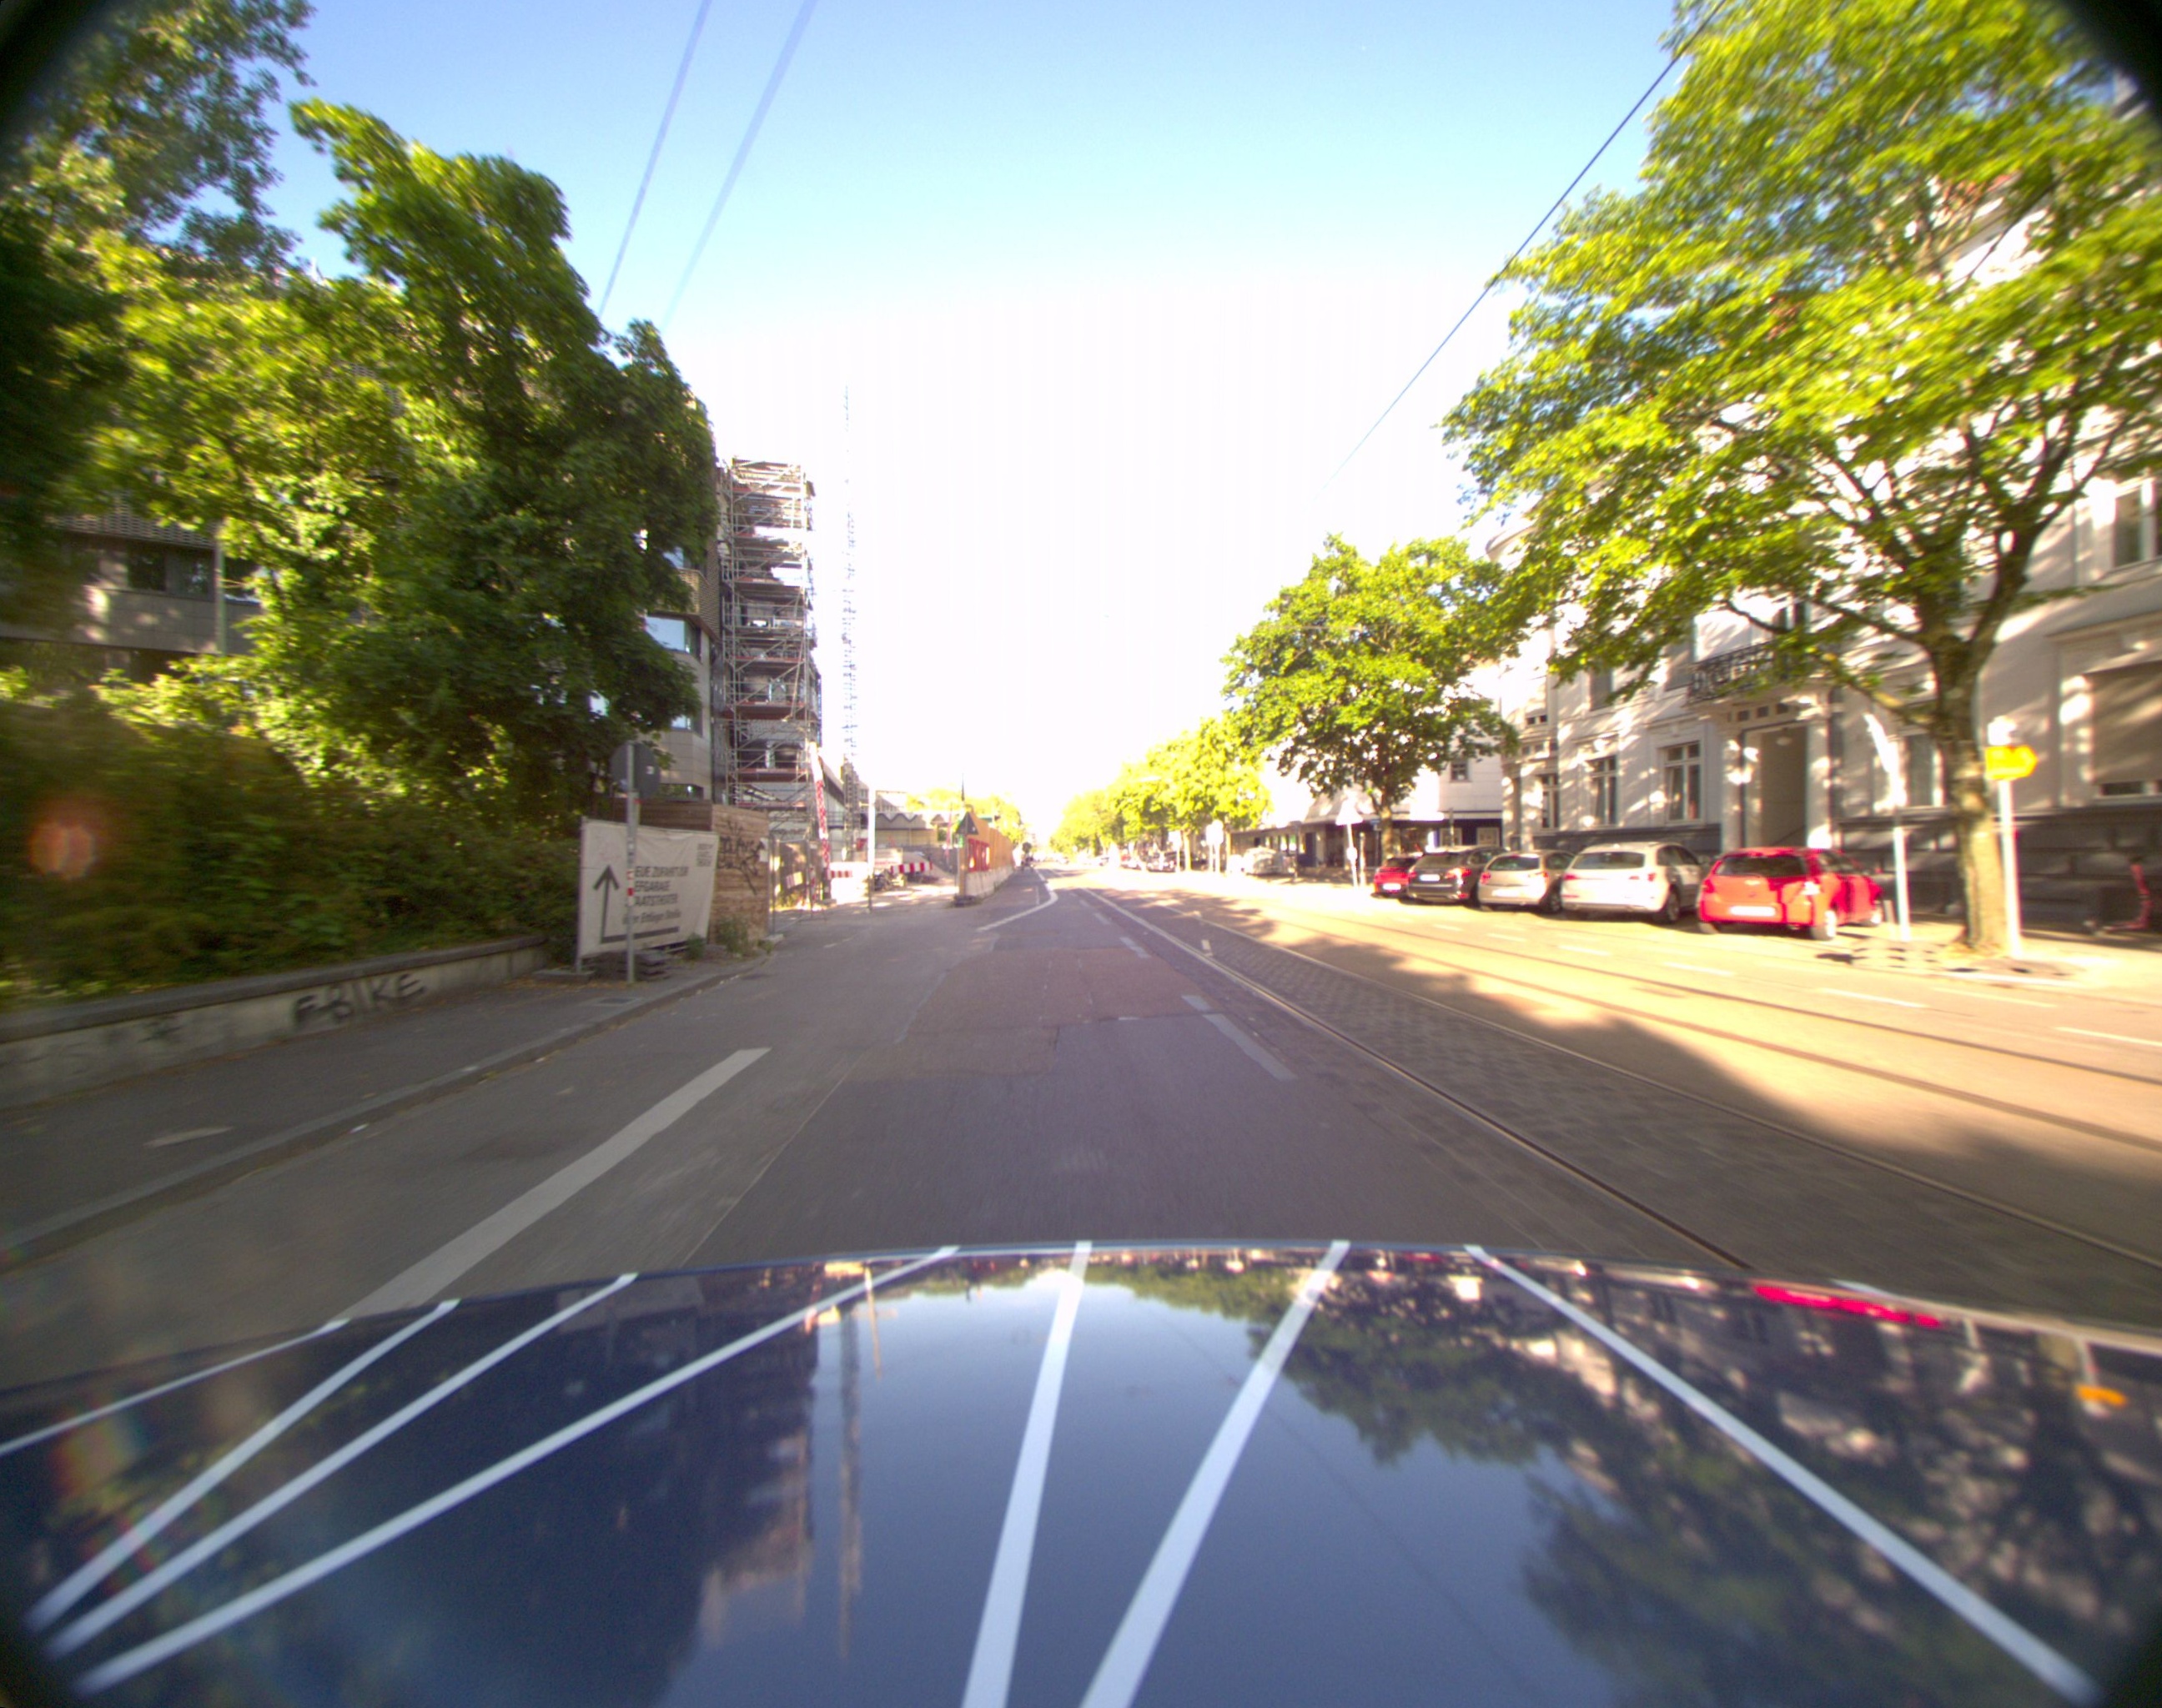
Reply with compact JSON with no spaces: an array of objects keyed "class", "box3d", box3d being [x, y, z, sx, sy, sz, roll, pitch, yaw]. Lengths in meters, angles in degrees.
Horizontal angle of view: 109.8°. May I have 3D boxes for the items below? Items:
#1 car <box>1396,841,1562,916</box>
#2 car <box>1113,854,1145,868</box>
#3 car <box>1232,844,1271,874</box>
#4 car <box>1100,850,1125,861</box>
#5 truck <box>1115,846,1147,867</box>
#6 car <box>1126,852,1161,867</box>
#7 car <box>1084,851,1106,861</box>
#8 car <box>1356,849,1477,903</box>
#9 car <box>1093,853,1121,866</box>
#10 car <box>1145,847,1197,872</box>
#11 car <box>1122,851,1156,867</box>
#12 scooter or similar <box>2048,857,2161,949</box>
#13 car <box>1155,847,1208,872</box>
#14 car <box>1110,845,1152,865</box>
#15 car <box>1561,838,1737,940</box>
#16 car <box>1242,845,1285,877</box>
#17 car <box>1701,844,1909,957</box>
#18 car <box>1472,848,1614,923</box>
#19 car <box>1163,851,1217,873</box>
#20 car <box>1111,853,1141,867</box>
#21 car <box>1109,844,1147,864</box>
[{"class":"car","box3d":[11.385,0.633,21.699,4.364,1.704,1.944,-4,2,-26]},{"class":"car","box3d":[6.326,0.889,100.021,3.773,1.584,1.671,-4,1,-9]},{"class":"car","box3d":[11.332,0.296,50.677,1.672,1.887,3.214,-1,0,-3]},{"class":"car","box3d":[5.004,0.218,121.281,3.773,1.584,1.671,-4,1,-9]},{"class":"truck","box3d":[6.386,0.272,97.139,3.771,2.409,1.672,-4,1,-4]},{"class":"car","box3d":[7.364,0.645,89.627,3.773,1.584,1.671,-4,1,-9]},{"class":"car","box3d":[2.568,0.378,135.450,3.622,1.492,1.503,-4,1,-9]},{"class":"car","box3d":[11.121,0.676,25.102,4.006,1.478,1.777,-4,2,-35]},{"class":"car","box3d":[3.892,0.787,112.276,3.773,1.584,1.671,-4,1,-9]},{"class":"car","box3d":[8.258,0.474,69.985,4.308,1.940,1.671,-4,1,-9]},{"class":"car","box3d":[6.985,0.585,91.897,3.773,1.584,1.671,-4,1,-9]},{"class":"scooter or similar","box3d":[16.177,0.731,11.916,0.401,1.350,1.286,-1,0,1]},{"class":"car","box3d":[8.857,0.481,67.121,4.308,1.940,1.671,-4,1,-9]},{"class":"car","box3d":[5.374,0.093,81.134,4.102,1.767,1.671,-4,1,-9]},{"class":"car","box3d":[12.208,0.645,16.258,4.207,1.714,1.780,-4,2,-35]},{"class":"car","box3d":[11.226,0.430,46.945,1.672,1.887,3.214,-1,0,-3]},{"class":"car","box3d":[12.851,0.709,13.426,4.207,1.549,1.636,-4,1,-32]},{"class":"car","box3d":[11.728,0.731,19.212,3.772,1.511,1.744,-4,2,-37]},{"class":"car","box3d":[9.259,0.683,64.683,4.102,1.561,1.671,-4,1,-9]},{"class":"car","box3d":[6.112,0.801,103.930,3.773,1.584,1.671,-4,1,-9]},{"class":"car","box3d":[5.126,0.039,83.103,3.806,1.928,1.671,-4,1,-9]}]
